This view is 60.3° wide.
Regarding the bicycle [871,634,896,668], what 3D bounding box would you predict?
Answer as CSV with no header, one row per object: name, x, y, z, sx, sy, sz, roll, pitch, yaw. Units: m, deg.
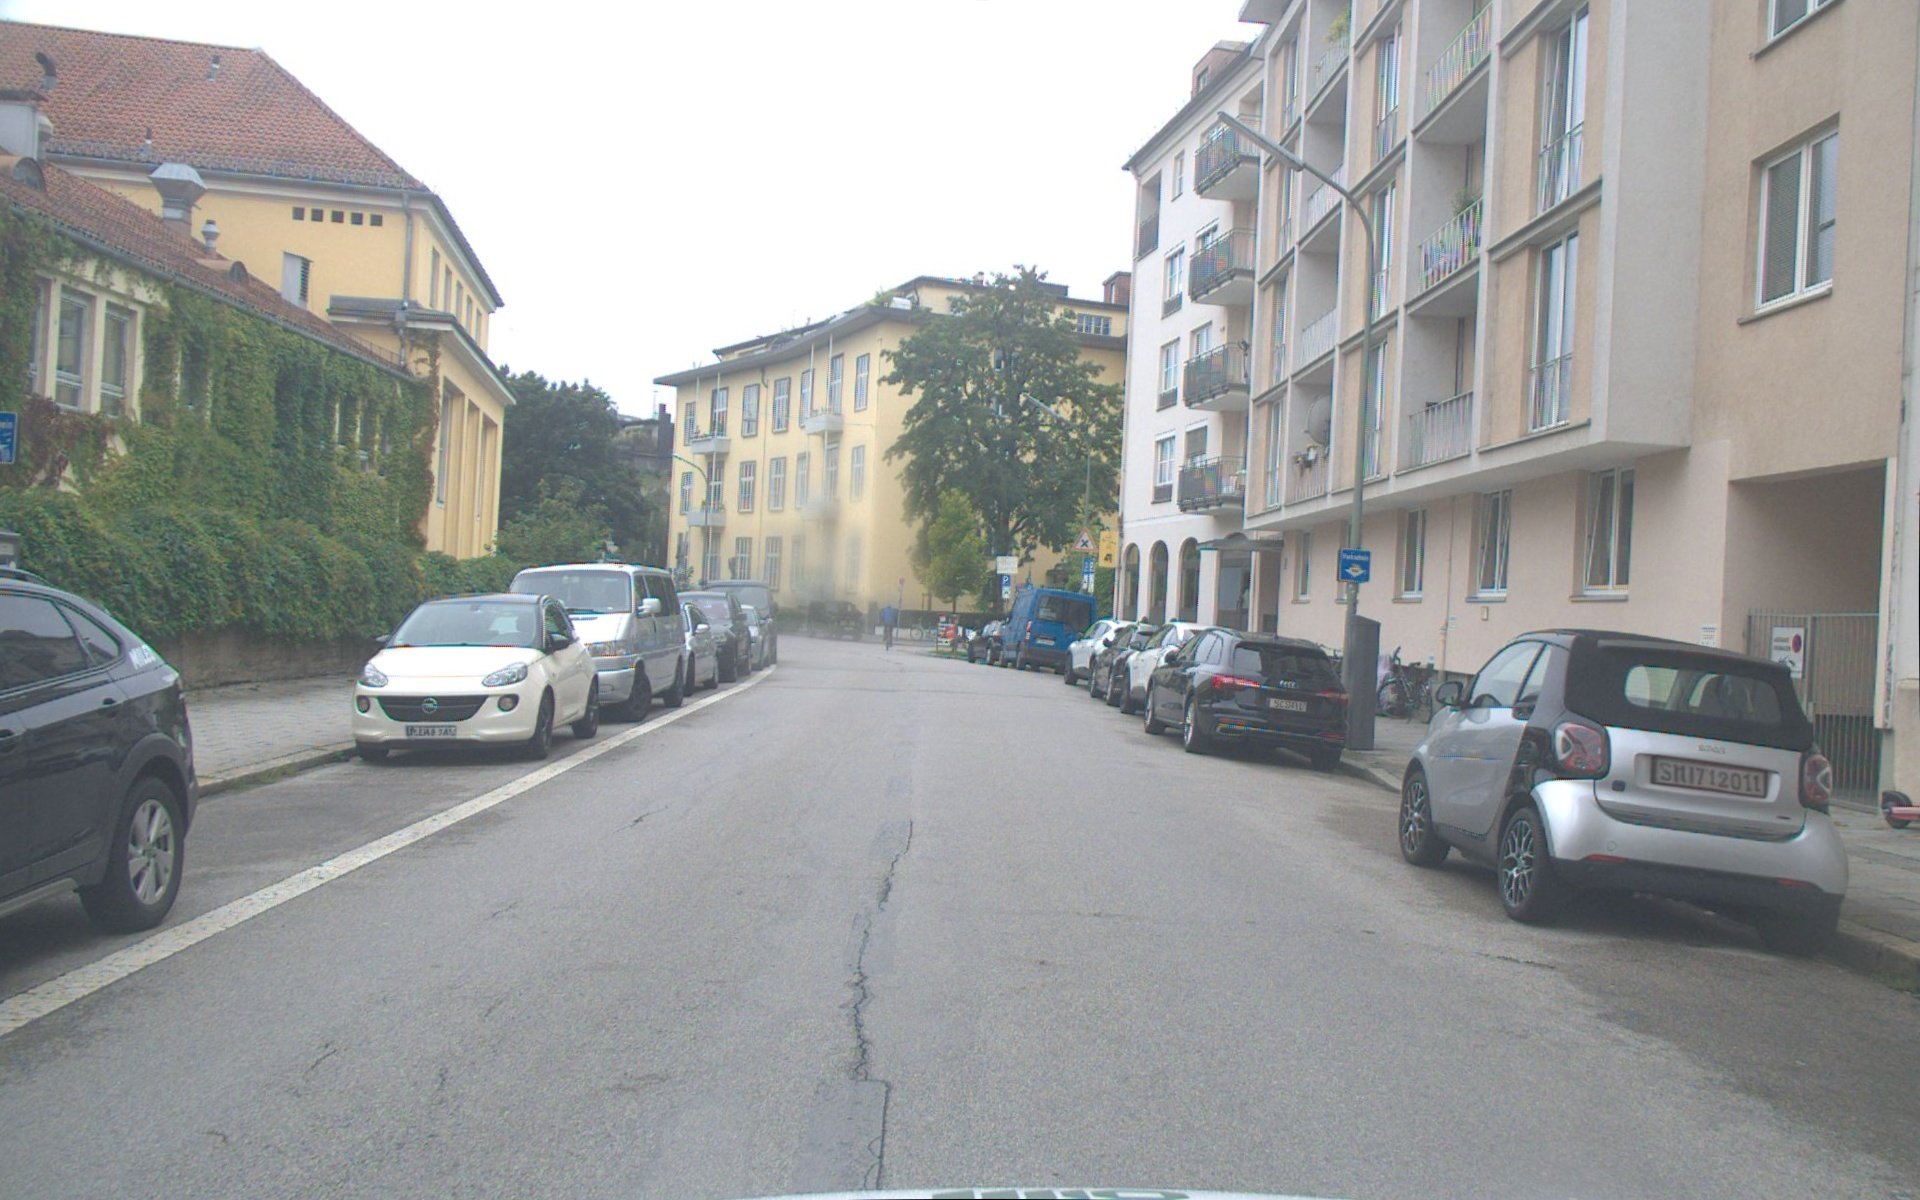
bicycle,-3.110,2.049,67.335,0.902,1.274,2.321,2,0,-2

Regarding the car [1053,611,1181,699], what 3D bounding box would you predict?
car,3.350,1.145,36.073,1.743,1.548,4.297,7,0,-7

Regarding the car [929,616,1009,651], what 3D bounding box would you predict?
car,0.407,1.546,77.215,3.640,1.431,1.752,3,0,-2

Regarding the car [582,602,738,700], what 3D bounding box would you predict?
car,-4.782,0.778,26.943,1.767,1.402,4.490,-2,0,-1

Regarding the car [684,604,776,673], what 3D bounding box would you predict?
car,-5.094,0.813,37.044,1.673,1.389,3.999,-2,0,-3

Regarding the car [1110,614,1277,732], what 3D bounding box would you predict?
car,3.541,1.066,25.759,1.669,1.493,4.117,7,-1,-3

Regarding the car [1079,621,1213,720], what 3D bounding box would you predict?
car,3.360,1.243,30.723,1.737,1.453,4.692,7,0,-1

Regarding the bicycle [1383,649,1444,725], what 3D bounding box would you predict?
bicycle,7.553,1.436,27.623,0.503,1.177,1.600,1,-1,-2

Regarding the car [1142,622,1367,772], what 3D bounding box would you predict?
car,3.437,1.076,20.144,1.790,1.405,4.490,5,0,-1

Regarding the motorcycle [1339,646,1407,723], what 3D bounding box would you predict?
motorcycle,7.423,1.502,29.795,0.623,1.293,2.040,1,-1,-2

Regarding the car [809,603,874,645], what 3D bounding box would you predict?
car,-6.002,1.175,83.582,1.848,1.920,4.586,3,0,-23

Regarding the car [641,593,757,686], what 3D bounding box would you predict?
car,-4.946,0.705,31.863,1.668,1.634,4.489,-1,0,-2

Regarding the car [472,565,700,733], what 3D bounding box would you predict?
car,-4.599,0.546,21.109,1.855,1.830,4.879,-2,0,-1

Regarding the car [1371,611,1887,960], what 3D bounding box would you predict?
car,3.761,0.936,9.946,1.582,1.542,3.379,6,0,0

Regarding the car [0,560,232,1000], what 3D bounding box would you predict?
car,-4.135,0.637,5.575,1.683,1.507,4.217,-2,0,-4

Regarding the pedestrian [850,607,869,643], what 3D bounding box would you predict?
pedestrian,-5.120,1.282,83.963,0.832,1.788,0.952,2,0,-8

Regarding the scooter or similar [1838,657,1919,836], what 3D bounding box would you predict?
scooter or similar,7.524,1.129,12.899,0.714,1.297,1.095,2,0,-1

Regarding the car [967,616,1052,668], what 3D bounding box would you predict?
car,1.554,1.320,53.188,1.685,1.418,3.987,6,-1,-13

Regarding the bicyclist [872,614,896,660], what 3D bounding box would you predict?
bicyclist,-3.082,1.497,67.379,0.896,1.795,1.215,2,0,-2

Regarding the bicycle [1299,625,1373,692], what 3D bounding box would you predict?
bicycle,7.061,1.088,31.056,1.315,1.223,0.392,-1,-1,-16

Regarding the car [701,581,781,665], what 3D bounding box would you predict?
car,-5.542,0.548,42.124,1.888,2.014,4.616,0,0,-7

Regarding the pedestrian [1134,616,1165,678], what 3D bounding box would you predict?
pedestrian,5.124,1.267,44.731,0.665,1.657,0.828,2,-1,-6

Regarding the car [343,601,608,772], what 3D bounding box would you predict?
car,-4.524,0.739,15.931,1.633,1.434,3.557,0,0,-3

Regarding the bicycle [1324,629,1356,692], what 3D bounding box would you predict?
bicycle,7.527,1.183,32.791,0.384,1.223,1.342,-1,-1,4

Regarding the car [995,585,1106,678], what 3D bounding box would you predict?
car,2.512,0.935,47.313,2.070,2.251,5.019,7,-3,-7
